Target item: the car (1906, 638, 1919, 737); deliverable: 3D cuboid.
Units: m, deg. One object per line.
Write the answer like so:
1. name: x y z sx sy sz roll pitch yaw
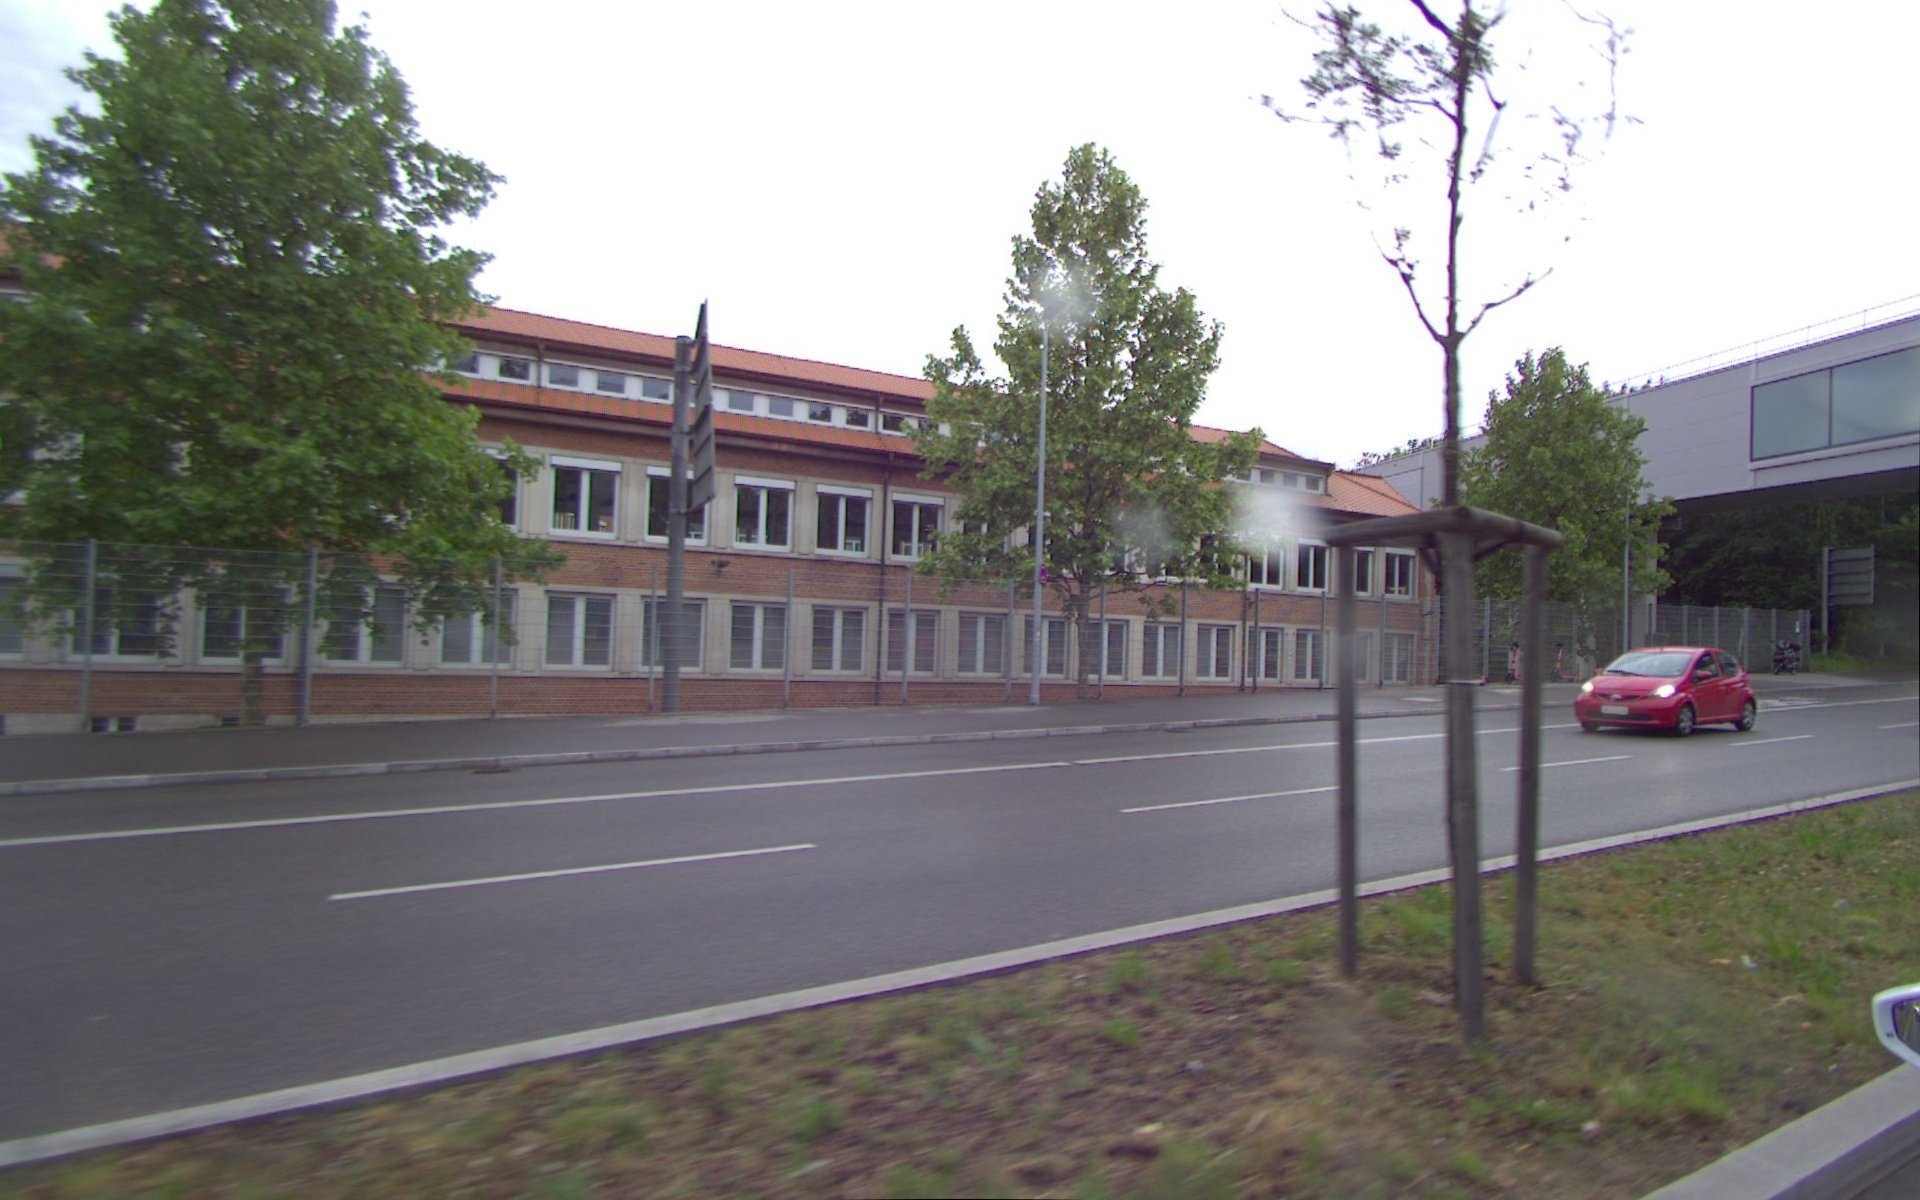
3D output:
1. car: 17.777 1.470 16.979 3.811 1.626 1.578 2 -4 -31

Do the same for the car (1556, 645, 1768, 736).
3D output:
1. car: 12.412 1.539 17.725 3.729 1.456 1.707 2 -4 -32

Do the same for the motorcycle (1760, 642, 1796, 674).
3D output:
1. motorcycle: 32.306 2.282 39.666 1.973 1.221 0.466 1 -2 -31

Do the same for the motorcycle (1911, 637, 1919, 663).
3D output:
1. motorcycle: 46.240 2.382 48.058 1.907 1.174 0.467 0 -2 -28

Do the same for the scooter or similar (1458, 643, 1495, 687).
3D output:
1. scooter or similar: 15.101 1.888 29.377 1.292 1.234 0.310 1 -2 -31

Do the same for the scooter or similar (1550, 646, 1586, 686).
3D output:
1. scooter or similar: 19.290 2.085 31.847 1.290 1.234 0.310 1 -2 -26

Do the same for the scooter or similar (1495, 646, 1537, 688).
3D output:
1. scooter or similar: 16.864 2.018 30.460 1.287 1.234 0.311 1 -2 -19
